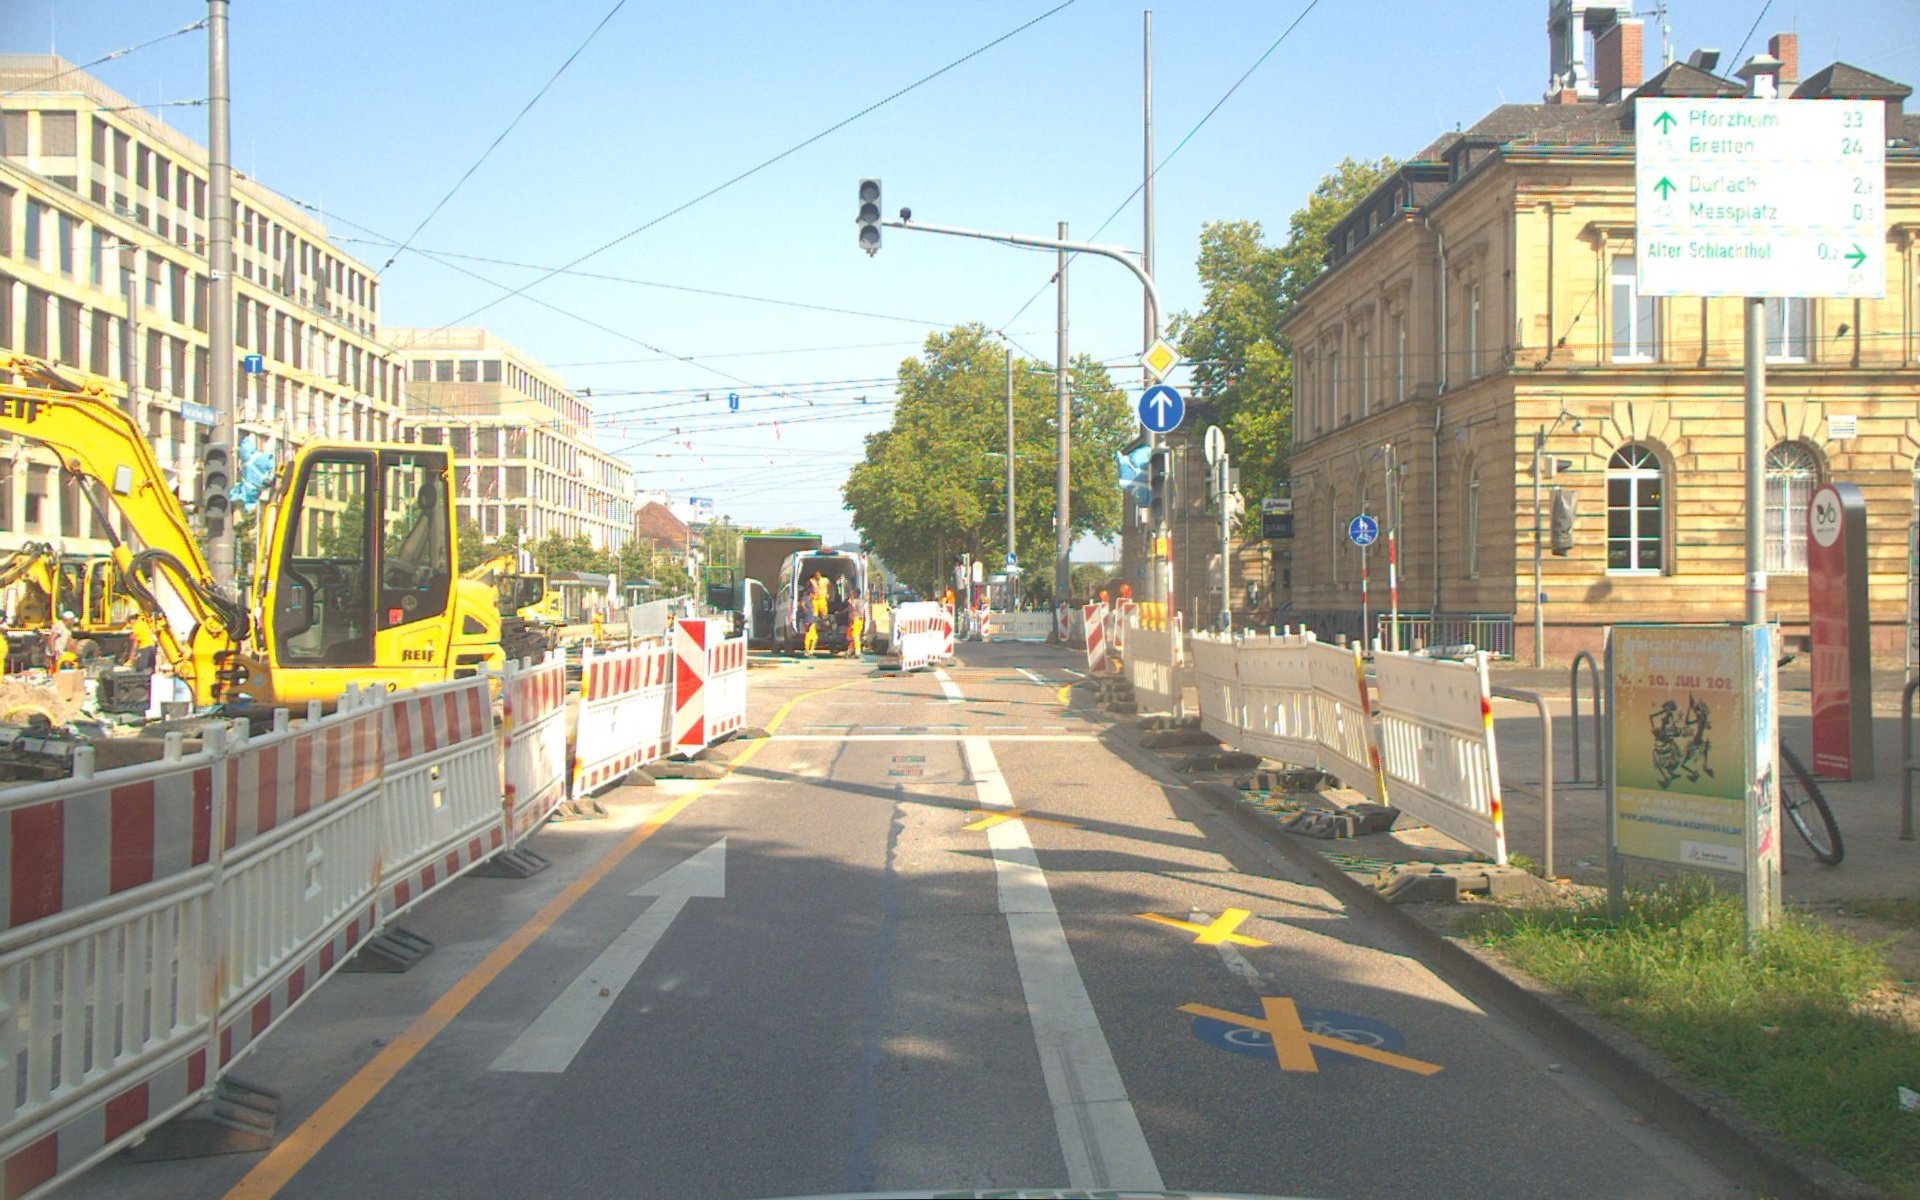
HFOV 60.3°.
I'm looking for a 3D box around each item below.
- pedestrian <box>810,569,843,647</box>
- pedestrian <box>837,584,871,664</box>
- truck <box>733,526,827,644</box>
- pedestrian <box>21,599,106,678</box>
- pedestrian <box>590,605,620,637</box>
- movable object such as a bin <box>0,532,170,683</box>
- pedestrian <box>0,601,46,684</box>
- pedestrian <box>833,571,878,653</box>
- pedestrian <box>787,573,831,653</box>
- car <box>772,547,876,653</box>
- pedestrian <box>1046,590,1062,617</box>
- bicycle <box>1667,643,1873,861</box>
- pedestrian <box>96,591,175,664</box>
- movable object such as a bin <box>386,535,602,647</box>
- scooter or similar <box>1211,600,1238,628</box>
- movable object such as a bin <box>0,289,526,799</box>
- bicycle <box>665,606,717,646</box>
[{"bbox_3d":[-3.563,0.211,44.179,0.718,2.049,0.907,-1,-1,4],"label":"pedestrian"},{"bbox_3d":[-2.751,0.621,43.104,0.718,2.049,0.908,-1,-1,5],"label":"pedestrian"},{"bbox_3d":[-6.288,-0.489,56.820,2.625,3.743,8.193,-1,0,-10],"label":"truck"},{"bbox_3d":[-17.061,0.720,31.510,1.119,1.467,0.917,-1,-1,-1],"label":"pedestrian"},{"bbox_3d":[-15.092,0.898,70.298,0.994,1.329,0.983,-1,0,2],"label":"pedestrian"},{"bbox_3d":[-23.021,0.207,41.009,2.788,3.388,8.345,-1,0,0],"label":"movable object such as a bin"},{"bbox_3d":[-17.220,0.752,29.695,1.119,1.467,0.917,-1,-1,-1],"label":"pedestrian"},{"bbox_3d":[-2.661,0.300,42.144,0.720,2.049,0.905,-1,-1,32],"label":"pedestrian"},{"bbox_3d":[-3.893,0.331,42.791,0.720,2.049,0.905,-1,-1,30],"label":"pedestrian"},{"bbox_3d":[-3.852,0.010,45.985,2.186,2.777,5.153,0,0,-13],"label":"car"},{"bbox_3d":[6.172,0.230,108.171,0.803,1.715,1.012,-6,0,-1],"label":"pedestrian"},{"bbox_3d":[4.172,0.746,8.606,0.402,1.004,1.376,-1,0,1],"label":"bicycle"},{"bbox_3d":[-16.963,0.562,34.046,1.119,1.467,1.020,-1,-1,-1],"label":"pedestrian"},{"bbox_3d":[-18.257,-0.362,65.602,3.432,4.083,9.040,-1,0,22],"label":"movable object such as a bin"},{"bbox_3d":[12.451,0.649,77.790,1.236,1.231,0.419,-2,2,-27],"label":"scooter or similar"},{"bbox_3d":[-6.409,-0.373,12.171,6.056,3.404,2.103,0,-1,-21],"label":"movable object such as a bin"},{"bbox_3d":[-7.899,0.765,48.519,1.632,1.156,0.614,-1,-1,41],"label":"bicycle"}]
